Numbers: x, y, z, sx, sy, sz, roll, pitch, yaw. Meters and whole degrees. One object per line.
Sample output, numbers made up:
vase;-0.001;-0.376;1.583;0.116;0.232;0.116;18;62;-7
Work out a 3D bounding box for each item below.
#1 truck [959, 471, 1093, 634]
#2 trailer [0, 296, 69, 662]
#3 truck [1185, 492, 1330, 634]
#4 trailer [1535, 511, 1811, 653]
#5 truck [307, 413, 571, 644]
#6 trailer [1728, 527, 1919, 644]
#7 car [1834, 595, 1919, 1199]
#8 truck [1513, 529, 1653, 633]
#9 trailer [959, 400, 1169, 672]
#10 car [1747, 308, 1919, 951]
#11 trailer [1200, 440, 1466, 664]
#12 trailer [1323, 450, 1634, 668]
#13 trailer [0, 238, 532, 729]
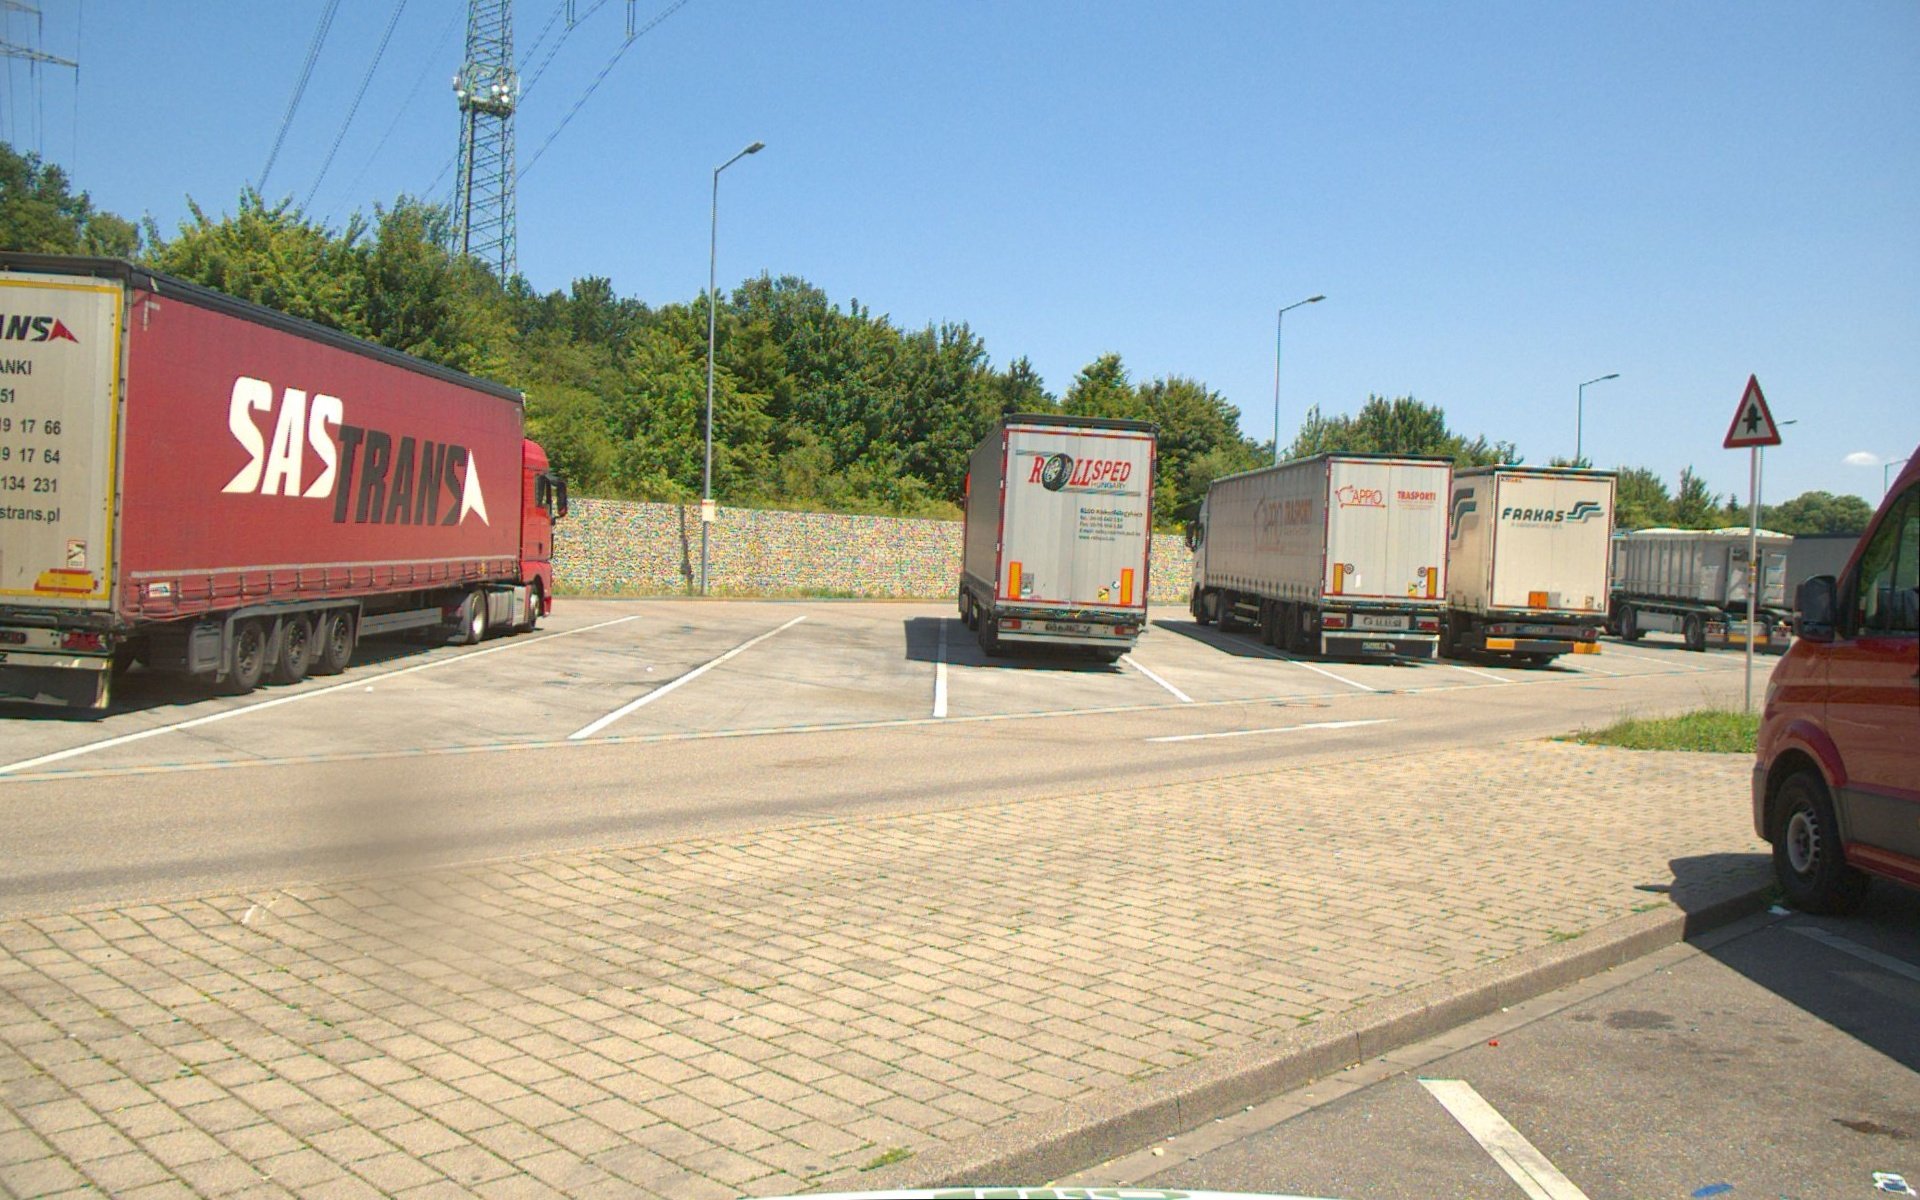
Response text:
truck;1.481;-1.145;39.838;2.794;3.544;5.482;2;2;-1
trailer;-12.523;-1.307;15.692;2.673;4.282;10.170;2;2;-1
truck;8.096;-1.042;45.628;2.794;3.544;5.482;2;2;-1
trailer;21.927;-0.693;52.198;2.780;3.781;13.726;2;2;1
truck;-8.792;-1.205;28.611;2.794;3.487;5.482;2;2;-1
trailer;34.938;-0.656;65.403;2.780;4.119;13.726;2;2;1
car;2.601;0.794;1.145;1.703;1.508;3.813;1;1;-6
truck;22.007;-0.723;58.703;2.794;3.423;5.484;2;2;0
trailer;1.650;-1.233;33.229;2.848;4.204;13.720;2;2;-2
car;5.012;0.159;5.550;2.023;2.742;6.397;1;1;4
trailer;8.210;-1.142;38.818;2.781;4.204;13.722;2;2;-1
trailer;11.770;-1.023;39.623;2.781;4.204;13.722;2;2;-1
trailer;-8.678;-1.296;21.175;2.848;4.203;13.723;2;2;-1
